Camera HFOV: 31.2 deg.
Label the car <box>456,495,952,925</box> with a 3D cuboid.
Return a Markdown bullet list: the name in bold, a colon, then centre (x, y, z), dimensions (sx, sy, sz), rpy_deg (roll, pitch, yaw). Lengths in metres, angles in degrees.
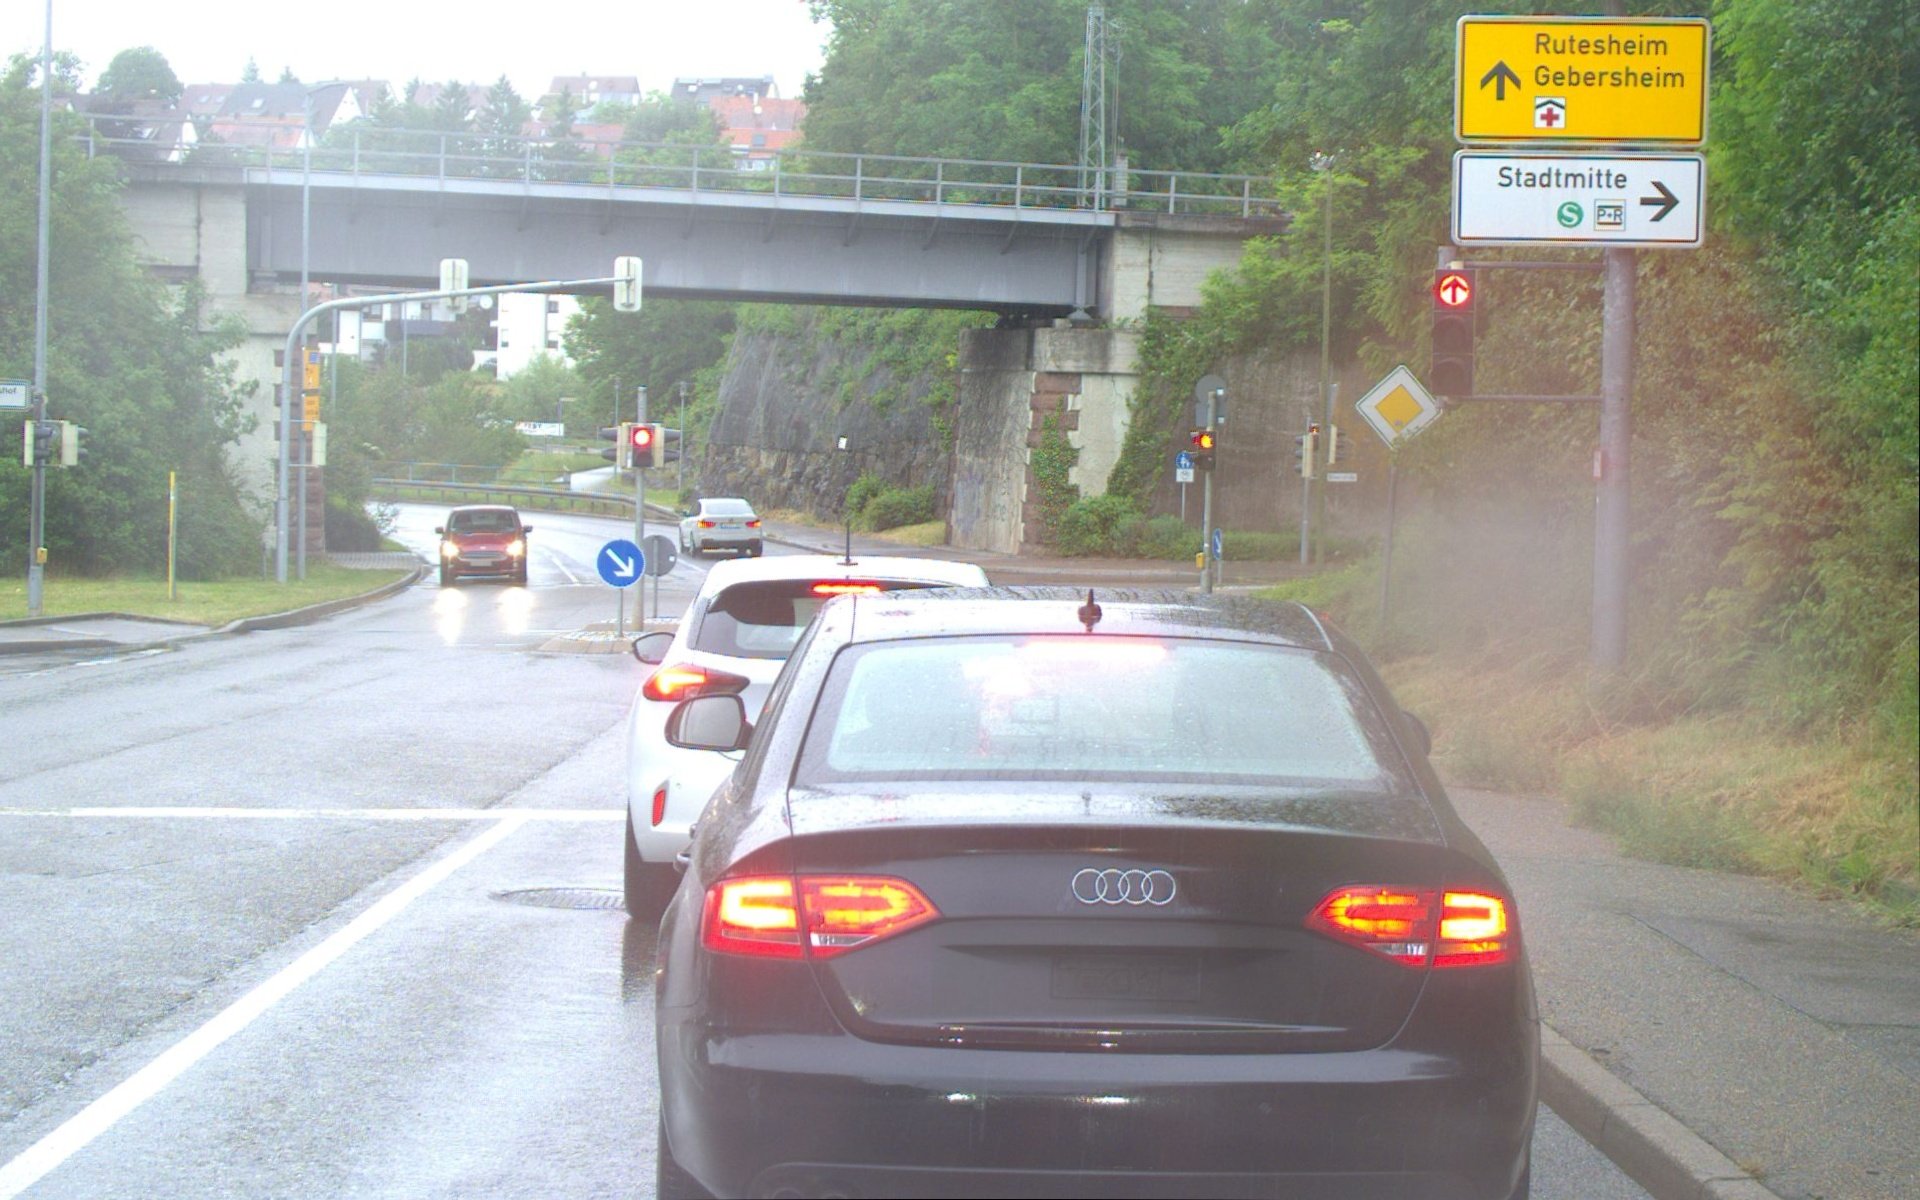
- **car**: centre (-0.977, 0.408, 14.743), dimensions (1.823, 1.579, 4.000), rpy_deg (1, 0, -1)

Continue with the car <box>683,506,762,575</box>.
- **car**: centre (-6.257, -1.535, 90.224), dimensions (1.804, 1.736, 4.481), rpy_deg (1, 0, -7)

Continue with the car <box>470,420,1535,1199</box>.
- **car**: centre (0.048, 0.454, 8.046), dimensions (1.870, 1.611, 4.000), rpy_deg (0, 1, -1)

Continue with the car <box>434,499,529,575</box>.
- **car**: centre (-10.496, -1.387, 75.524), dimensions (1.993, 1.622, 4.001), rpy_deg (0, 1, -7)
